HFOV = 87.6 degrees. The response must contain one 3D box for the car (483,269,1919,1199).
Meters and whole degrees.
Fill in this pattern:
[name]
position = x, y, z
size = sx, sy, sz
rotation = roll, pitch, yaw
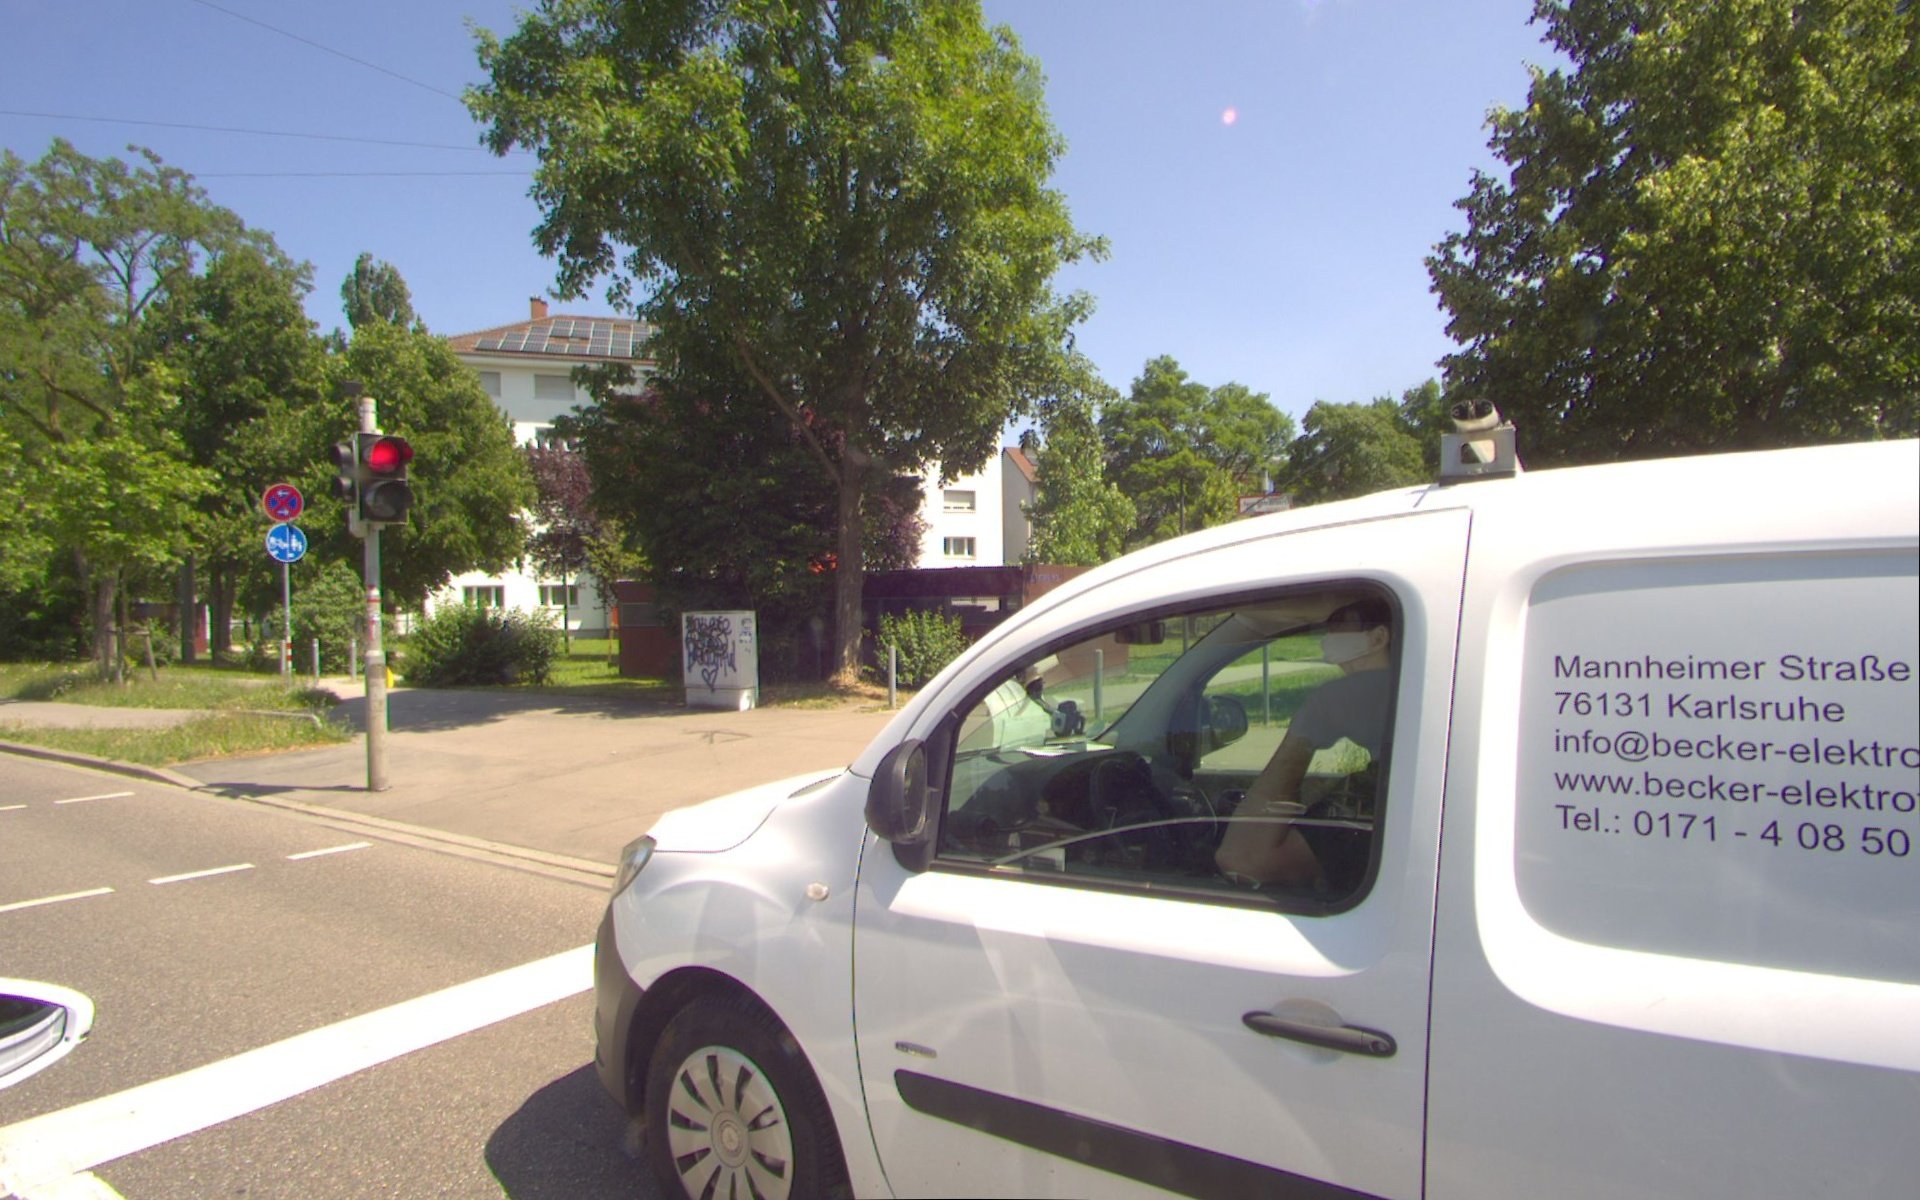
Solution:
[car]
position = 1.119, 0.564, 2.309
size = 4.384, 1.850, 1.990
rotation = -1, 0, 32
